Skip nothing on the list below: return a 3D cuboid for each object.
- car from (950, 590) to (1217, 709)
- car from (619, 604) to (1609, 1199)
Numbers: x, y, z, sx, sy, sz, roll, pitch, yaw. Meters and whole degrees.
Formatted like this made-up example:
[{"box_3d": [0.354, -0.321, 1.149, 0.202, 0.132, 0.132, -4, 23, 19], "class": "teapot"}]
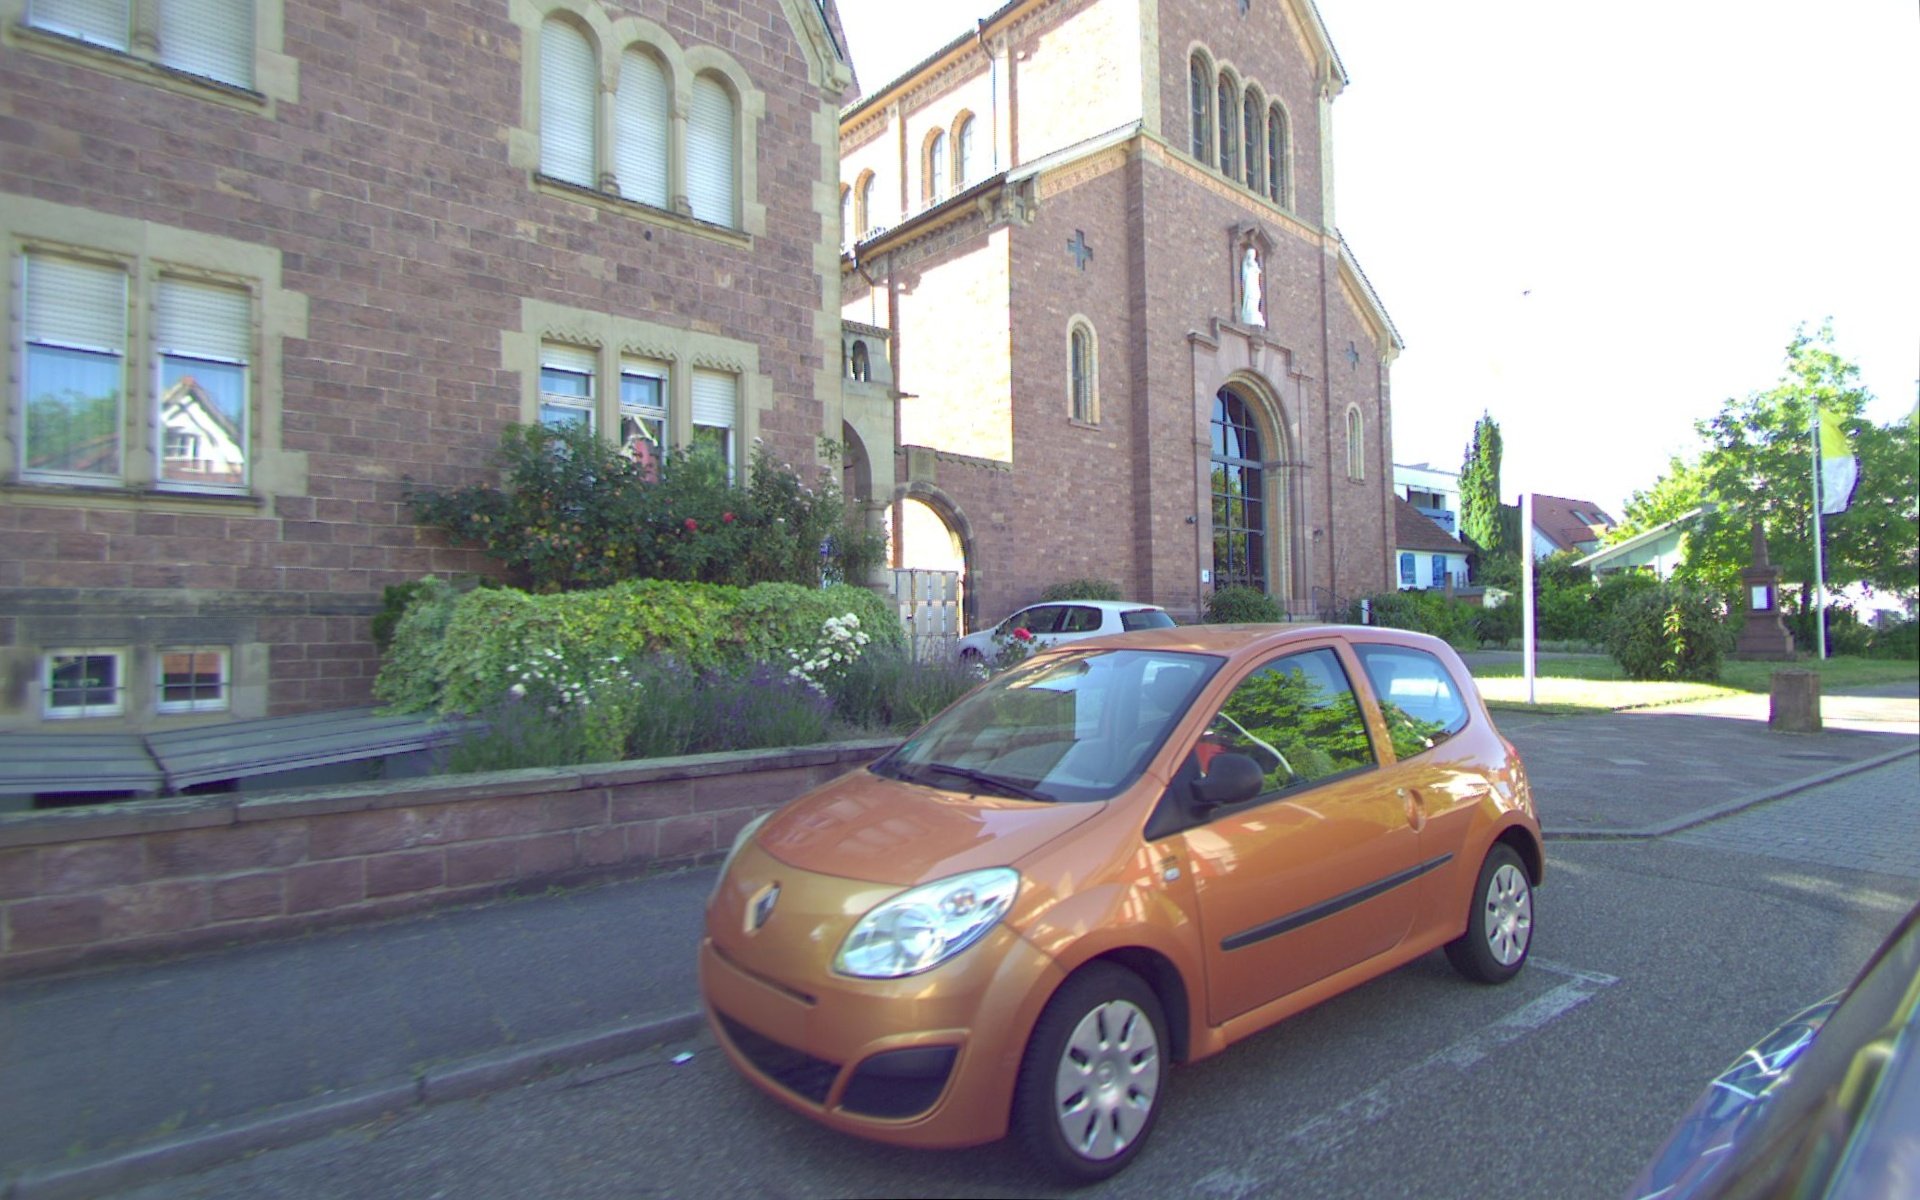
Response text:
[{"box_3d": [1.829, 0.656, 15.903, 1.872, 1.514, 3.904, -1, 3, -42], "class": "car"}, {"box_3d": [0.846, 0.806, 4.013, 3.860, 1.498, 1.652, 1, -3, -37], "class": "car"}]
